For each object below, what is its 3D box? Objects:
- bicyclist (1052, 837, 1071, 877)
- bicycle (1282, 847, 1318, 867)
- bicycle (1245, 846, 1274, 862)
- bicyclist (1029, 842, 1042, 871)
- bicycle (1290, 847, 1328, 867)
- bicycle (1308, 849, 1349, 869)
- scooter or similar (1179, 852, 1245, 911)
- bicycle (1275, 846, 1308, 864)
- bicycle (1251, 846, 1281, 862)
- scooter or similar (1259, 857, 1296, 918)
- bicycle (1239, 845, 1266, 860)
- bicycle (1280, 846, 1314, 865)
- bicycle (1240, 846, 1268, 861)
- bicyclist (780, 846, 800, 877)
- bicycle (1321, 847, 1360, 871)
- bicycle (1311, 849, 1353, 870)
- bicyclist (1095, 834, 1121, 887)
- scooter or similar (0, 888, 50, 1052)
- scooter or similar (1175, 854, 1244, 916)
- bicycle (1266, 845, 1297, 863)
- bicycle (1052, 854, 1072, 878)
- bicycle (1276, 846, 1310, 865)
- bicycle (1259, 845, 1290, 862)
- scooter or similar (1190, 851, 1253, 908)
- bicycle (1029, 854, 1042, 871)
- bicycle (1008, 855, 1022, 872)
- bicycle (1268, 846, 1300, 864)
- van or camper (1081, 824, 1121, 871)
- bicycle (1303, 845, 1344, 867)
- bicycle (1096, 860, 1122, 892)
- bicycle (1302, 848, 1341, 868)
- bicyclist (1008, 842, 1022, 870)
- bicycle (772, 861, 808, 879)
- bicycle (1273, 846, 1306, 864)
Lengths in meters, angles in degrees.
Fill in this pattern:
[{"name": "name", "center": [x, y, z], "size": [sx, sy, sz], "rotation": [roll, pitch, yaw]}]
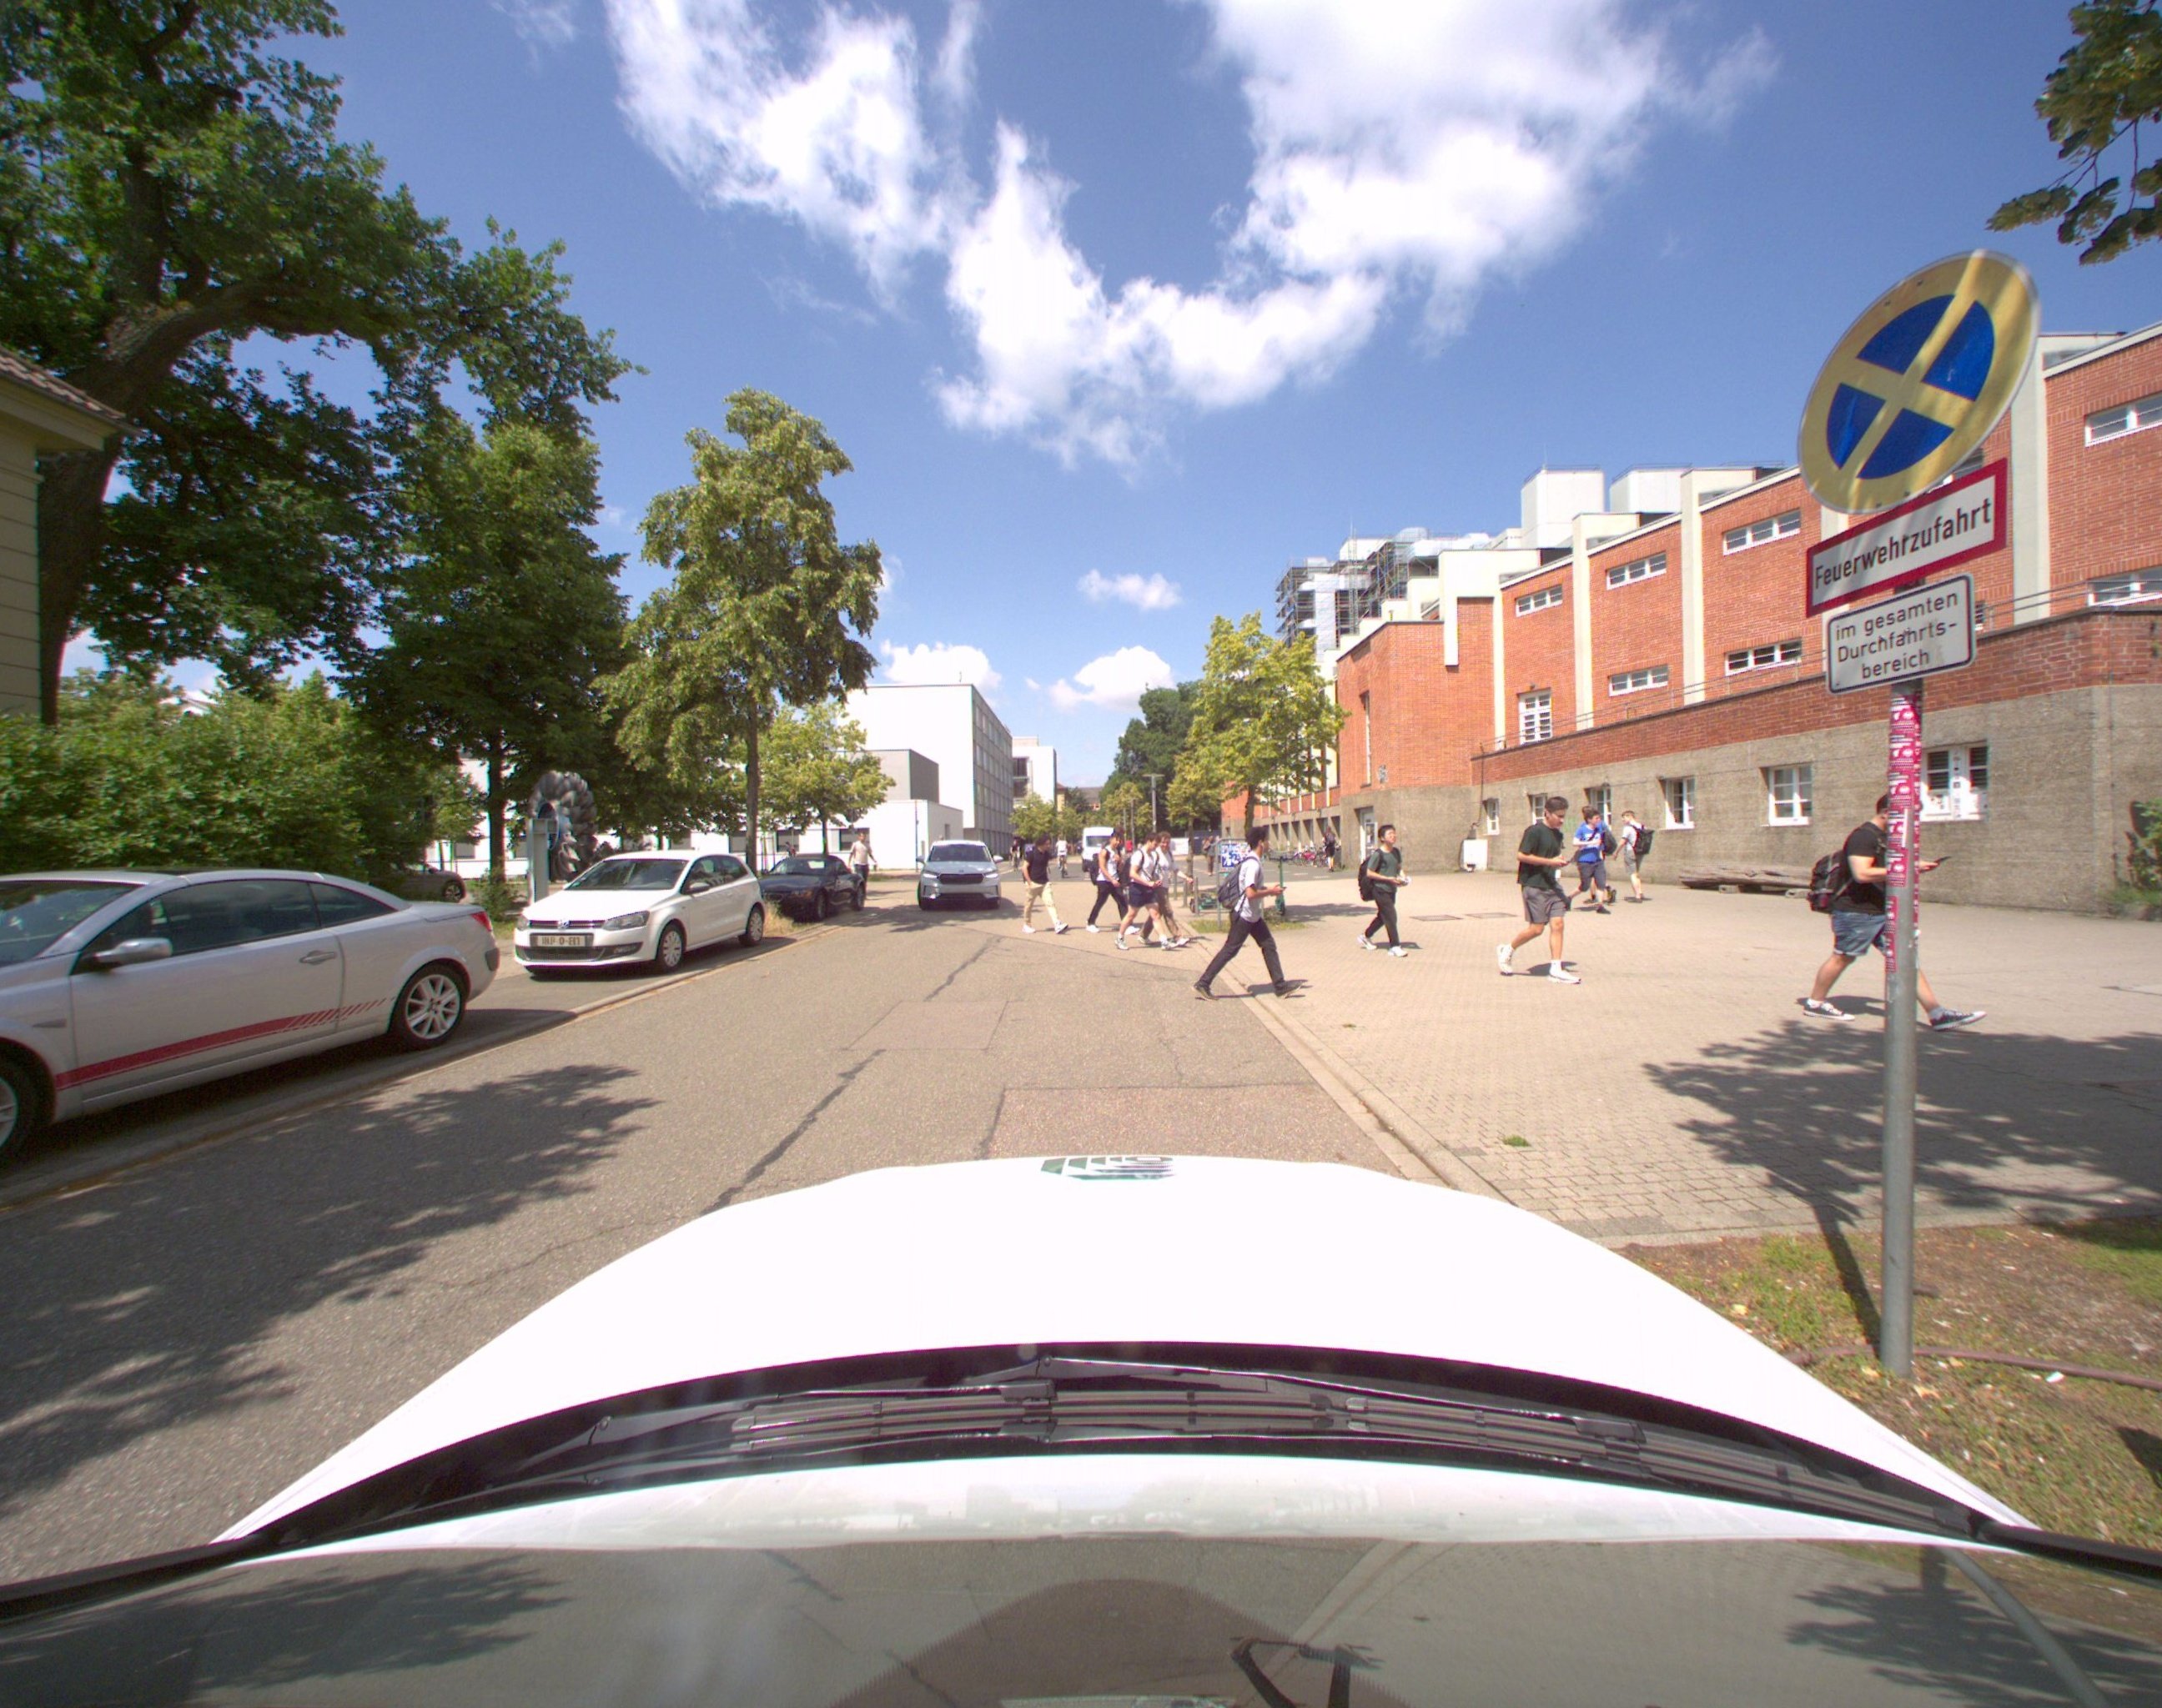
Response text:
[{"name": "bicyclist", "center": [-0.868, 0.118, 36.820], "size": [0.768, 1.756, 0.848], "rotation": [-3, 0, 0]}, {"name": "bicycle", "center": [12.059, 0.157, 44.820], "size": [1.803, 0.985, 0.560], "rotation": [-3, 0, 0]}, {"name": "bicycle", "center": [12.170, -0.022, 55.460], "size": [1.803, 0.985, 0.560], "rotation": [-3, 0, 0]}, {"name": "bicyclist", "center": [-2.685, 0.125, 48.513], "size": [0.665, 1.681, 0.992], "rotation": [-2, 0, 0]}, {"name": "bicycle", "center": [11.997, 0.161, 42.918], "size": [1.803, 0.985, 0.560], "rotation": [-3, 0, 0]}, {"name": "bicycle", "center": [12.074, 0.249, 39.691], "size": [1.803, 0.912, 0.560], "rotation": [-3, 0, 0]}, {"name": "scooter or similar", "center": [2.919, 0.598, 18.125], "size": [1.248, 1.265, 0.655], "rotation": [-1, 0, 33]}, {"name": "bicycle", "center": [12.464, 0.064, 48.199], "size": [1.803, 0.985, 0.560], "rotation": [-3, 0, 0]}, {"name": "bicycle", "center": [12.253, 0.004, 53.925], "size": [1.803, 0.985, 0.560], "rotation": [-3, 0, 0]}, {"name": "scooter or similar", "center": [4.015, 0.656, 16.565], "size": [0.643, 1.160, 1.270], "rotation": [-2, 0, 16]}, {"name": "bicycle", "center": [12.363, -0.076, 58.760], "size": [1.803, 0.985, 0.560], "rotation": [-3, 0, 0]}, {"name": "bicycle", "center": [12.465, 0.097, 47.009], "size": [1.803, 0.985, 0.560], "rotation": [-3, 0, 0]}, {"name": "bicycle", "center": [12.276, -0.055, 57.797], "size": [1.803, 0.985, 0.560], "rotation": [-3, 0, 0]}, {"name": "bicyclist", "center": [-16.484, 0.403, 46.202], "size": [0.683, 1.756, 0.816], "rotation": [-1, -1, 34]}, {"name": "bicycle", "center": [11.757, 0.234, 36.903], "size": [1.530, 1.033, 0.560], "rotation": [-2, 0, 0]}, {"name": "bicycle", "center": [11.982, 0.261, 38.836], "size": [1.803, 0.912, 0.560], "rotation": [-3, 0, 0]}, {"name": "bicyclist", "center": [0.892, 0.211, 26.554], "size": [0.714, 1.662, 1.097], "rotation": [-3, 0, 5]}, {"name": "scooter or similar", "center": [-8.180, 0.851, 5.616], "size": [0.466, 1.171, 1.234], "rotation": [-1, 0, 21]}, {"name": "scooter or similar", "center": [2.736, 0.646, 17.352], "size": [1.248, 1.265, 0.655], "rotation": [-1, 0, 33]}, {"name": "bicycle", "center": [12.642, -0.001, 51.386], "size": [1.803, 0.985, 0.560], "rotation": [-3, 0, 0]}, {"name": "bicycle", "center": [-0.840, 0.522, 36.879], "size": [0.806, 1.002, 2.123], "rotation": [-1, 1, 0]}, {"name": "bicycle", "center": [12.411, 0.078, 47.611], "size": [1.803, 0.985, 0.560], "rotation": [-3, 0, 0]}, {"name": "bicycle", "center": [12.496, -0.052, 52.586], "size": [1.803, 0.985, 0.560], "rotation": [-3, 0, 0]}, {"name": "scooter or similar", "center": [3.257, 0.589, 18.936], "size": [1.248, 1.265, 0.644], "rotation": [-1, 0, 33]}, {"name": "bicycle", "center": [-2.697, 0.516, 48.543], "size": [0.675, 0.965, 2.003], "rotation": [0, -1, 0]}, {"name": "bicycle", "center": [-3.780, 0.542, 46.839], "size": [0.675, 0.965, 2.002], "rotation": [-1, 0, -1]}, {"name": "bicycle", "center": [12.490, 0.053, 50.033], "size": [1.803, 0.985, 0.560], "rotation": [-3, 0, 0]}, {"name": "van or camper", "center": [1.176, -0.321, 45.733], "size": [1.985, 2.445, 4.574], "rotation": [-2, 0, 4]}, {"name": "bicycle", "center": [12.013, 0.106, 40.338], "size": [1.803, 0.985, 0.560], "rotation": [-3, 0, 0]}, {"name": "bicycle", "center": [0.930, 0.716, 26.595], "size": [0.703, 0.993, 1.913], "rotation": [-2, -1, 5]}, {"name": "bicycle", "center": [12.131, 0.207, 41.096], "size": [1.803, 0.912, 0.560], "rotation": [-3, 0, 0]}, {"name": "bicyclist", "center": [-3.795, 0.104, 46.927], "size": [0.641, 1.601, 0.908], "rotation": [-2, 0, -1]}, {"name": "bicycle", "center": [-16.513, 0.914, 46.224], "size": [2.096, 1.002, 0.816], "rotation": [-1, 0, 34]}, {"name": "bicycle", "center": [12.489, 0.047, 48.840], "size": [1.803, 0.985, 0.560], "rotation": [-3, 0, 0]}]
